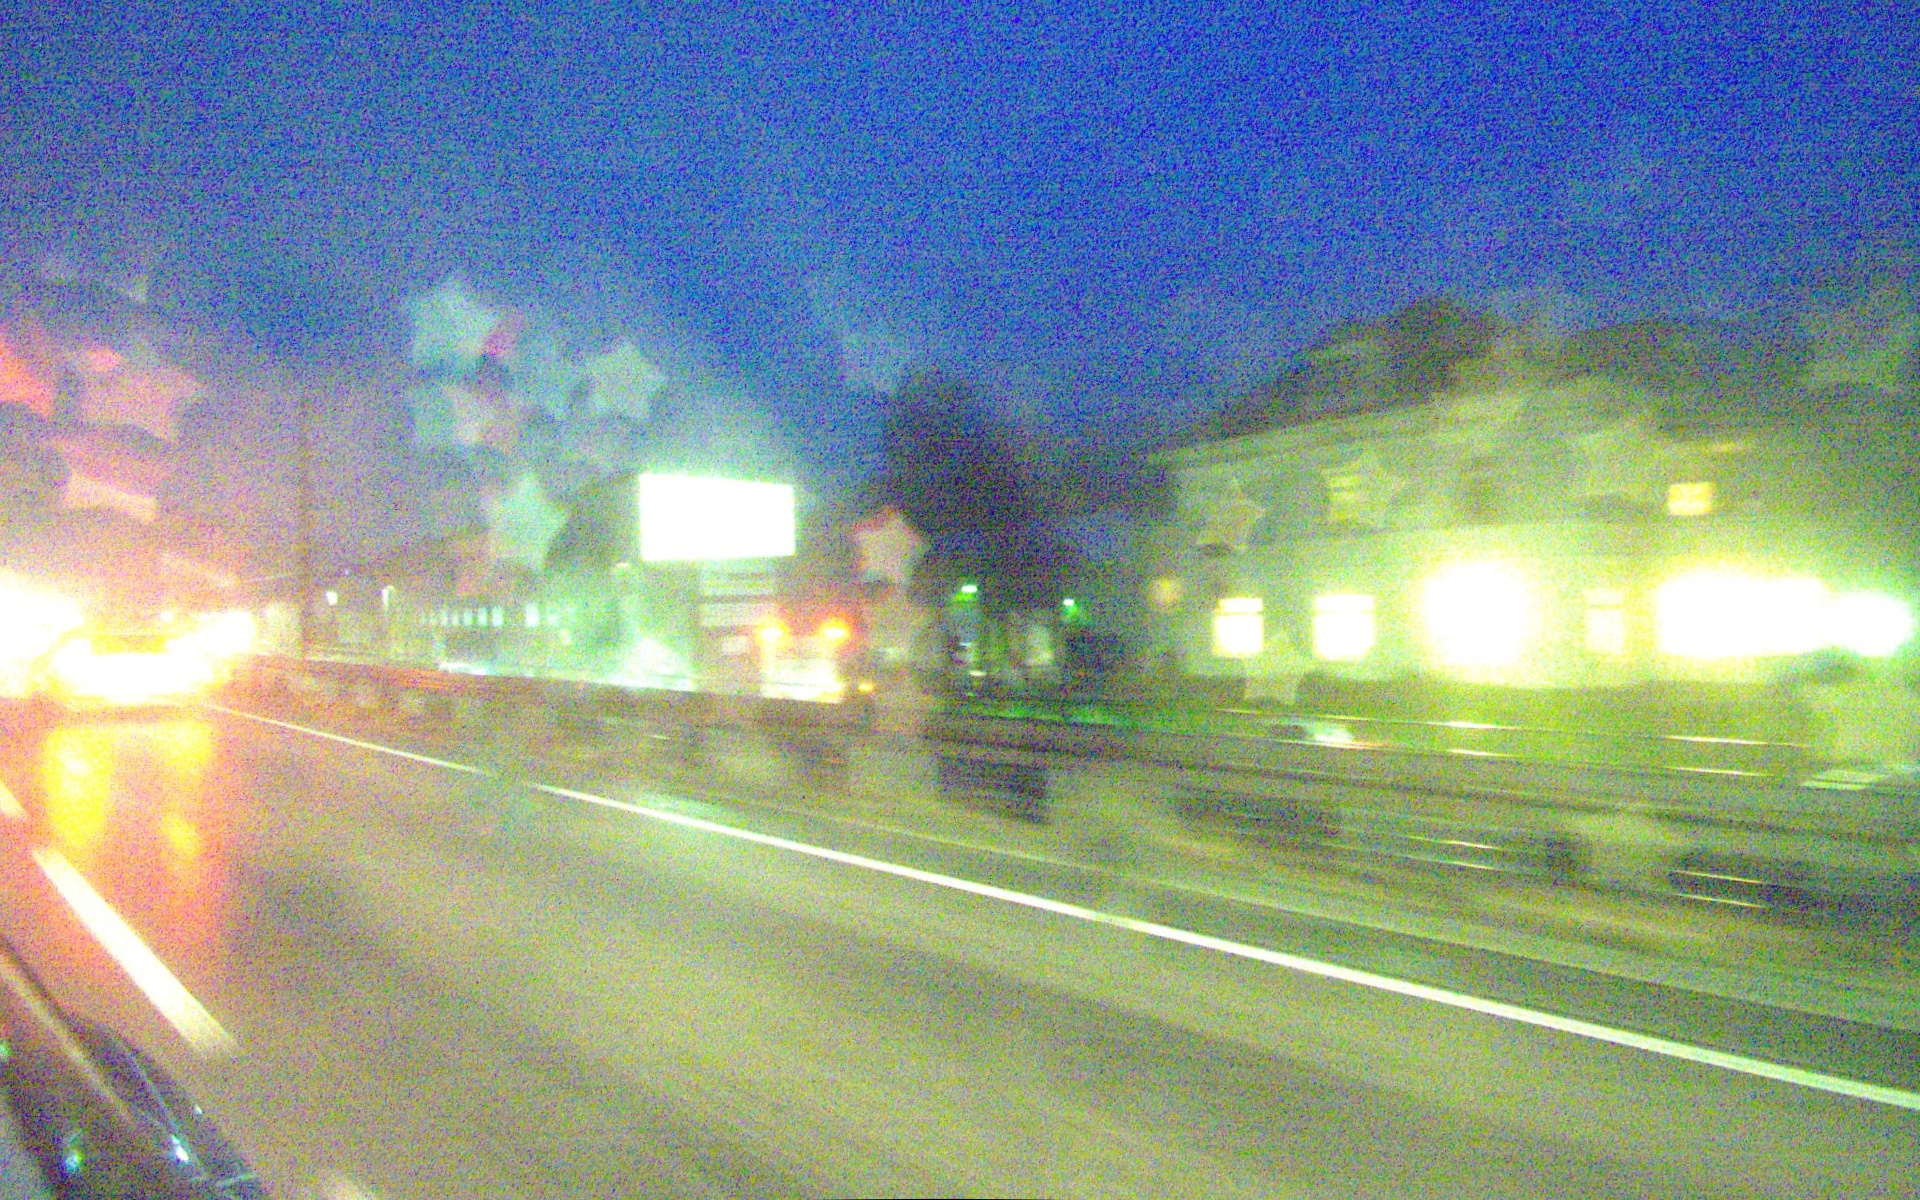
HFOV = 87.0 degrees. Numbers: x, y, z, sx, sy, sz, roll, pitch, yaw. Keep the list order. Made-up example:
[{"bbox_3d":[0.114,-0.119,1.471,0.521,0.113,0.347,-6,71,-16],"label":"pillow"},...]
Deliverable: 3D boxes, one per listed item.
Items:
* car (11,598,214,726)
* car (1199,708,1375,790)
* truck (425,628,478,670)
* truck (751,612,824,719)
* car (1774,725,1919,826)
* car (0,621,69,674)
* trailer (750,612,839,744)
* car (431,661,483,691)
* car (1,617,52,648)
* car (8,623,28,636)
[{"bbox_3d":[-14.023,0.905,16.650,4.595,1.820,1.972,-1,-1,42],"label":"car"},{"bbox_3d":[8.938,4.013,27.834,4.287,1.688,1.791,-1,-1,39],"label":"car"},{"bbox_3d":[-44.860,4.247,89.131,2.720,3.509,8.121,0,-1,-38],"label":"truck"},{"bbox_3d":[-8.622,3.039,49.870,3.283,4.832,7.336,0,-1,-12],"label":"truck"},{"bbox_3d":[18.438,3.414,19.442,4.287,1.582,1.791,-1,-1,38],"label":"car"},{"bbox_3d":[-32.029,1.566,34.740,4.293,1.688,1.788,-1,-1,44],"label":"car"},{"bbox_3d":[-7.320,2.964,43.335,3.283,4.832,11.583,0,-1,-12],"label":"trailer"},{"bbox_3d":[-32.710,4.895,65.759,1.787,1.688,4.296,0,-1,-44],"label":"car"},{"bbox_3d":[-47.518,1.638,51.495,3.682,1.490,1.765,-1,-1,45],"label":"car"},{"bbox_3d":[-124.732,3.908,134.010,1.756,1.586,4.007,0,-1,-40],"label":"car"}]
